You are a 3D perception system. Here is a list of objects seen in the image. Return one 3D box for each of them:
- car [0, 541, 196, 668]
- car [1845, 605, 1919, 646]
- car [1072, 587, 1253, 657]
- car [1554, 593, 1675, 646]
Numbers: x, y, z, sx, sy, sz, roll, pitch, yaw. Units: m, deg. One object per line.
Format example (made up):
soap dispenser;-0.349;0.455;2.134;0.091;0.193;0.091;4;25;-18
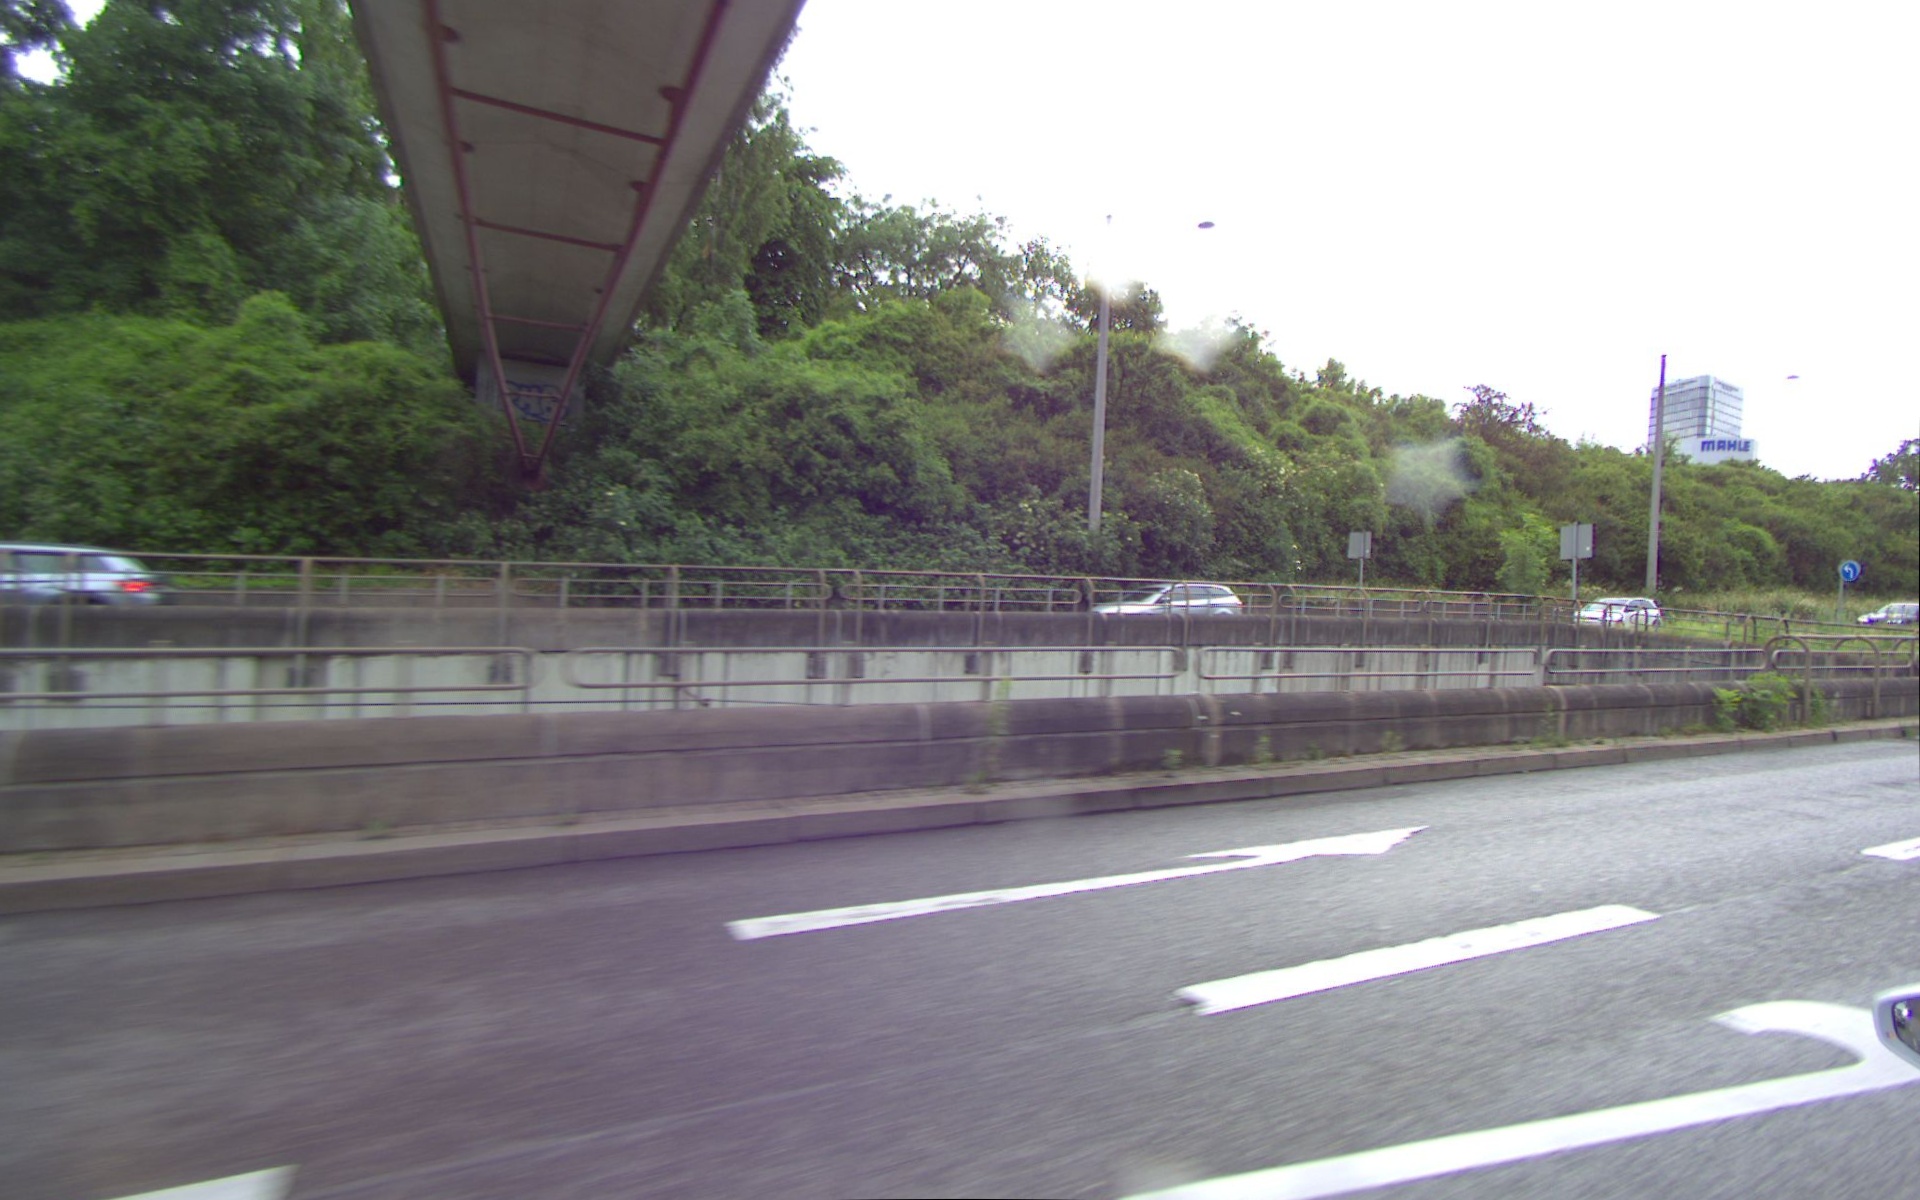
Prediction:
car;-15.140;0.074;15.950;4.500;1.941;1.665;1;-1;-27
car;43.274;1.191;46.504;4.666;1.659;1.984;2;3;-30
car;5.493;0.628;27.103;4.650;1.744;1.984;2;-2;-30
car;24.869;0.753;38.147;4.576;1.859;1.984;2;1;-30
